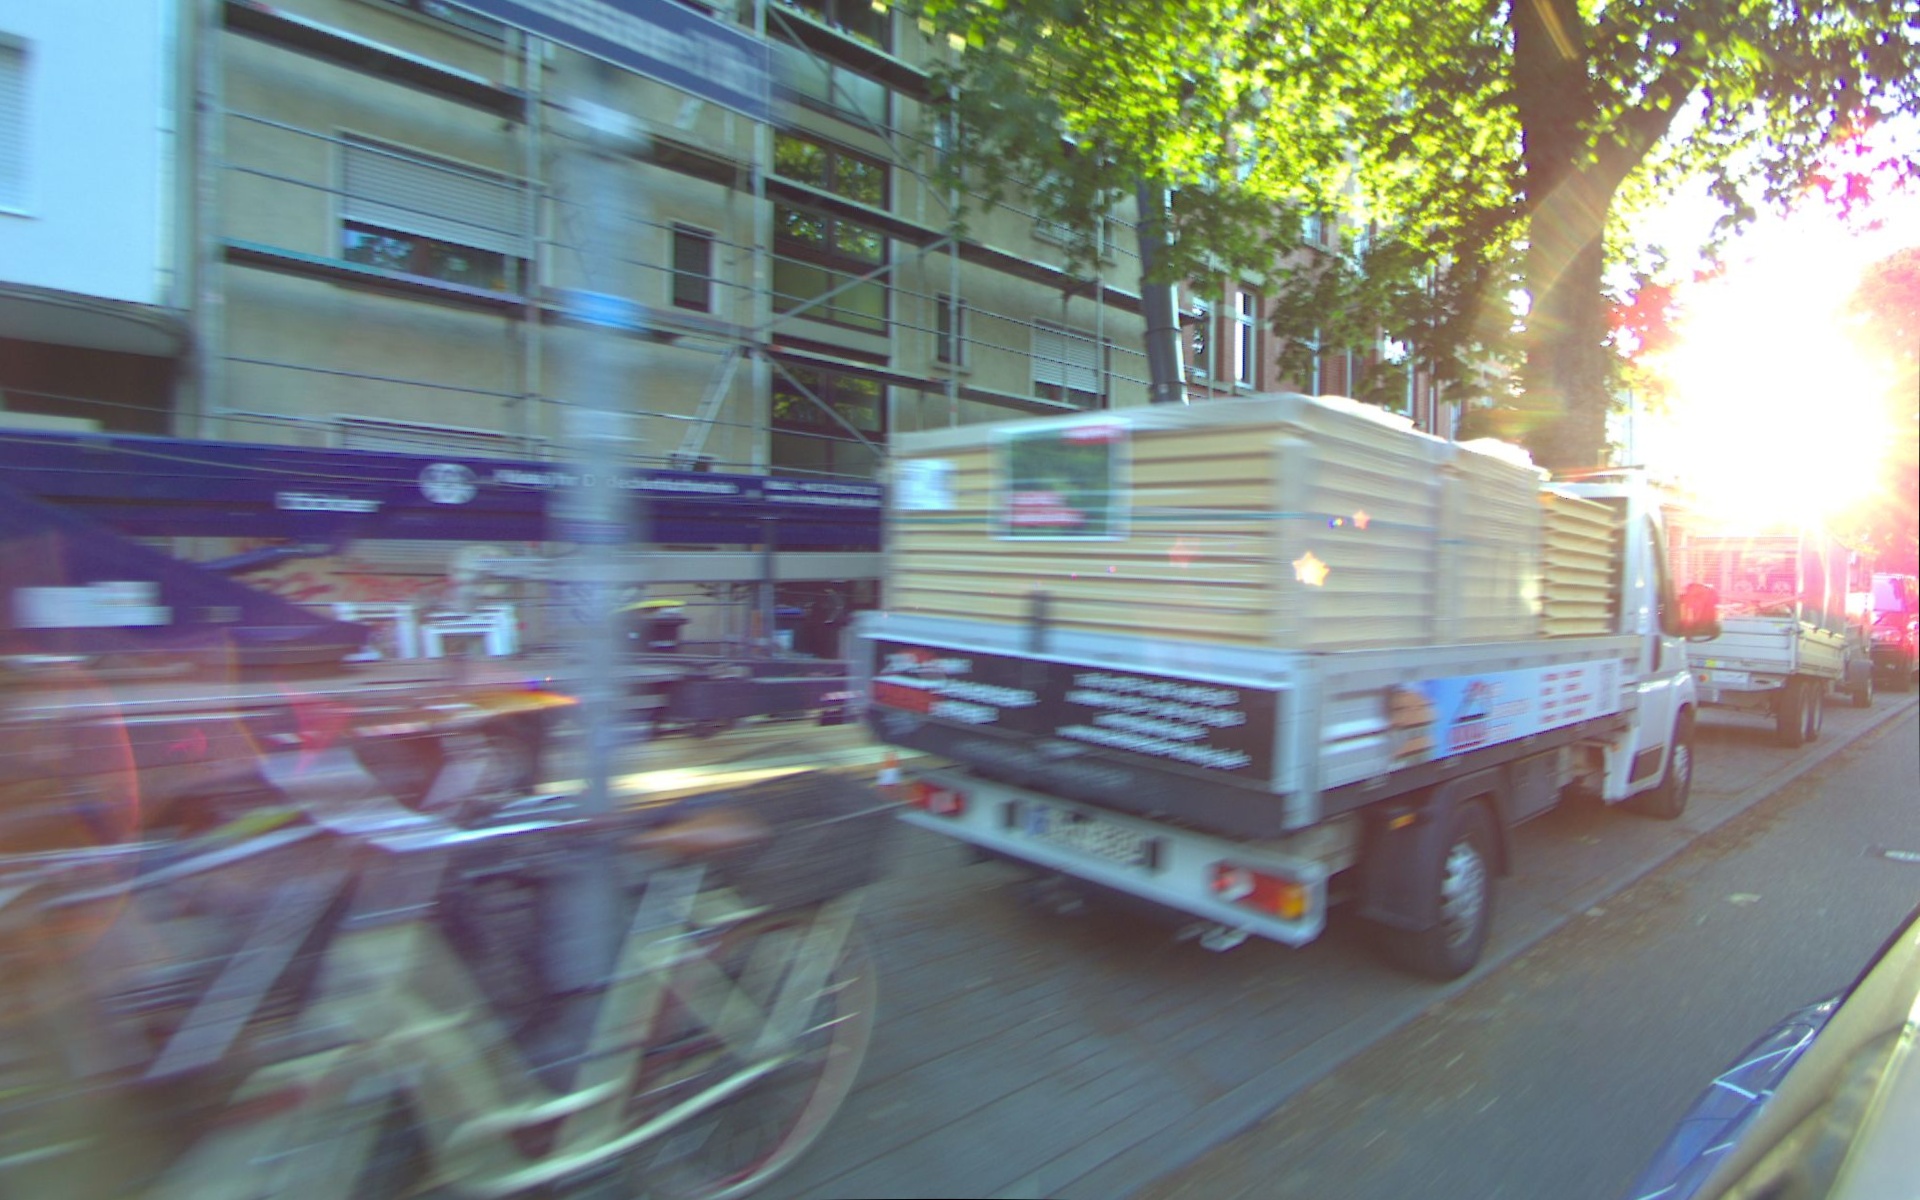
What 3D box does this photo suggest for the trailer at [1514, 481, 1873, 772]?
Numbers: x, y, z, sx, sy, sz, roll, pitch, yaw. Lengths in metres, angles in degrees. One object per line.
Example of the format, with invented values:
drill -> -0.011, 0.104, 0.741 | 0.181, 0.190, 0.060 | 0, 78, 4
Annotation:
trailer -> 7.626, 0.168, 10.339 | 4.564, 2.324, 1.958 | 0, 3, -42

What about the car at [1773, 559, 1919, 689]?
car -> 16.000, 0.372, 17.858 | 4.535, 1.966, 1.842 | 1, 2, -43

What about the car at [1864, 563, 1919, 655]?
car -> 23.755, 0.239, 24.754 | 4.748, 2.084, 1.957 | 1, 2, -43

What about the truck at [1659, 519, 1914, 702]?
truck -> 12.136, 0.111, 14.754 | 4.561, 2.274, 1.959 | 1, 2, -40

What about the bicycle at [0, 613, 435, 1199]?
bicycle -> -1.592, 0.724, 1.981 | 1.903, 1.274, 0.400 | 4, 3, 44

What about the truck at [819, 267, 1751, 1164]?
truck -> 2.520, 0.250, 5.594 | 6.664, 2.272, 1.979 | -1, 1, -44
